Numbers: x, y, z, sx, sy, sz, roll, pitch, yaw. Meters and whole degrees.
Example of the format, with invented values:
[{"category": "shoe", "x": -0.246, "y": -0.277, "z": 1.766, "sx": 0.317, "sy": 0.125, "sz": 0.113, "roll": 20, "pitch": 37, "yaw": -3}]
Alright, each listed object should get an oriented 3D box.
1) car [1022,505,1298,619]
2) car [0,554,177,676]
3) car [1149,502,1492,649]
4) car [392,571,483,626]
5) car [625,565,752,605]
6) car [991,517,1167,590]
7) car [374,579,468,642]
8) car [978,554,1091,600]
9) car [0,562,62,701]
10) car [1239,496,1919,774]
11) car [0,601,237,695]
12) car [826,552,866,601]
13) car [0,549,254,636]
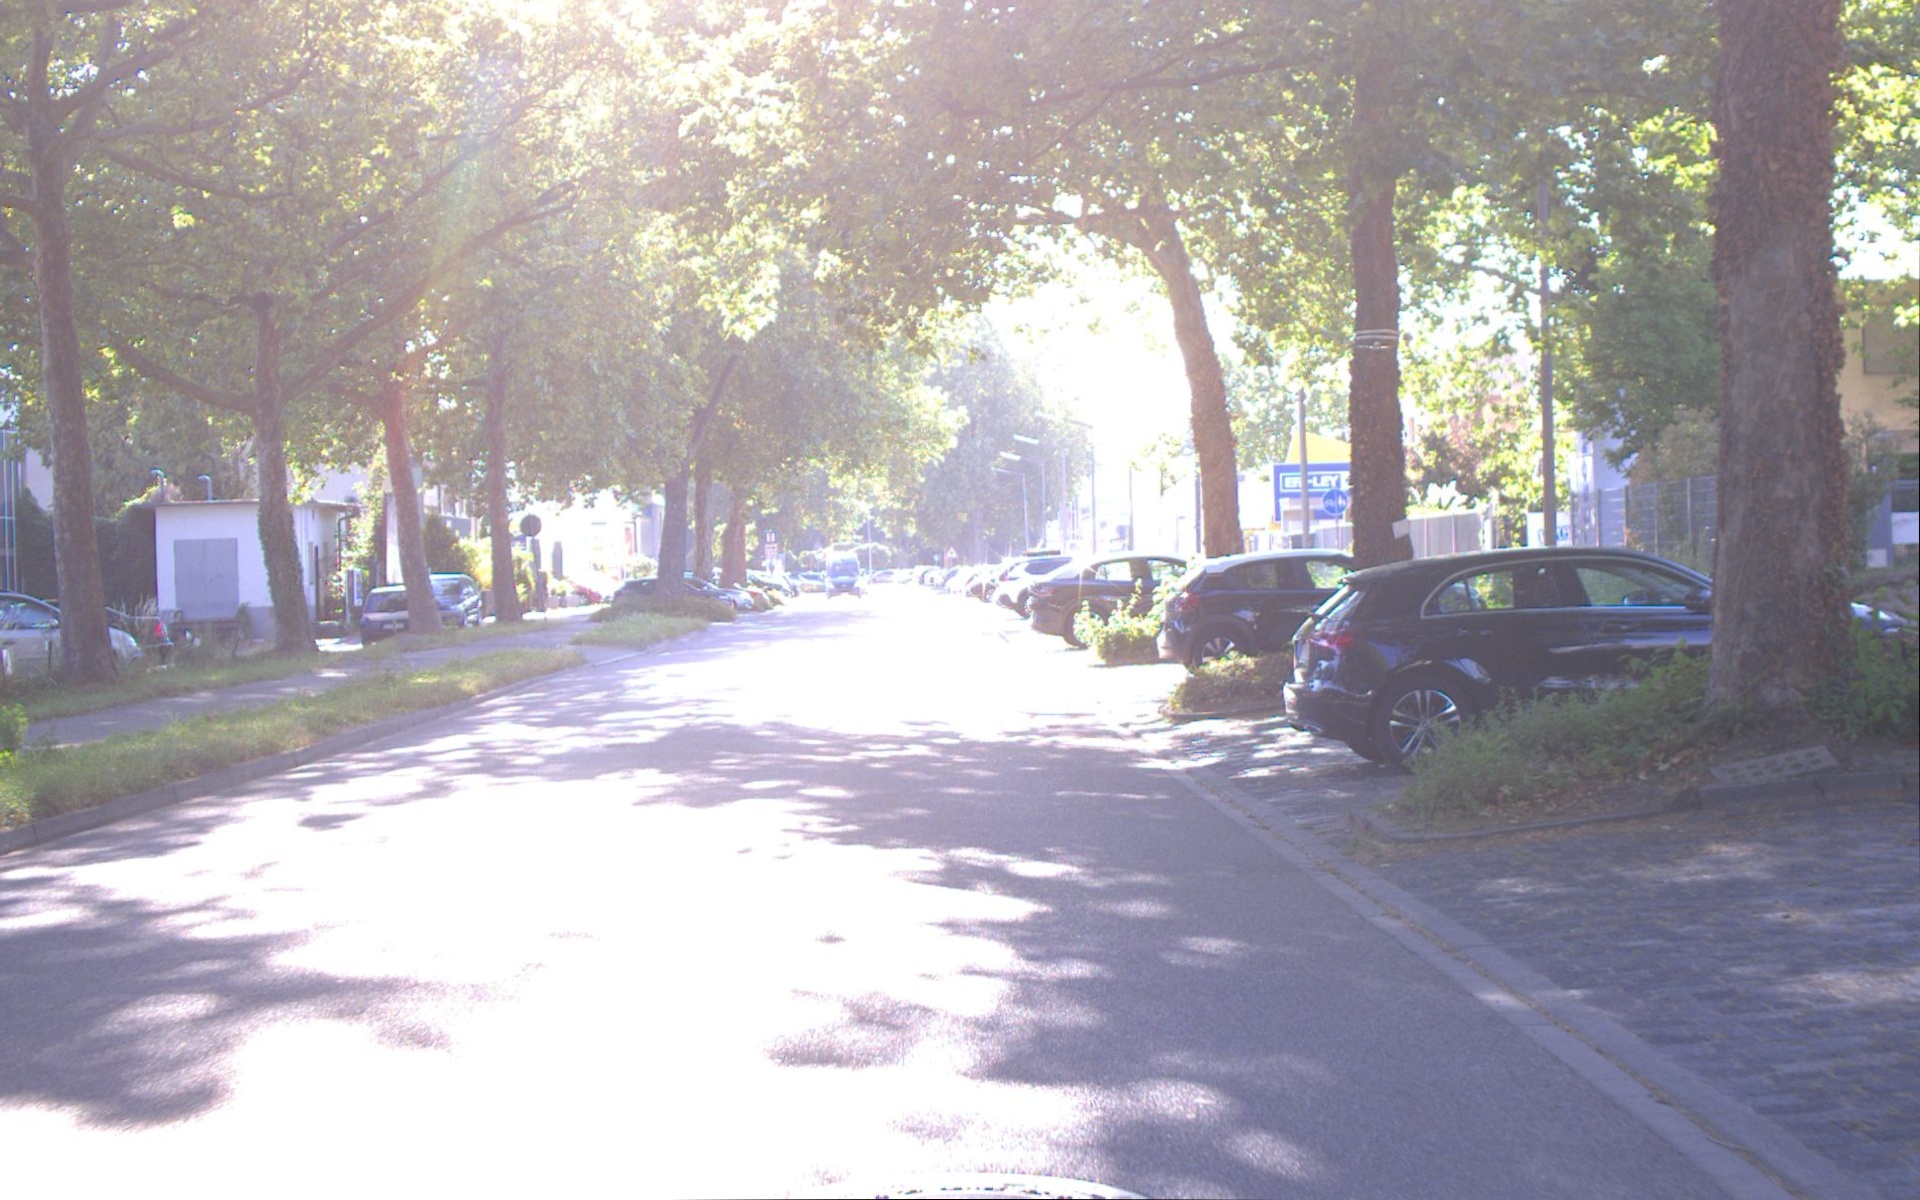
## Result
[{"category": "car", "x": 3.503, "y": -0.659, "z": 60.840, "sx": 4.569, "sy": 1.710, "sz": 1.944, "roll": -3, "pitch": 0, "yaw": -4}, {"category": "car", "x": -13.761, "y": 0.208, "z": 49.370, "sx": 4.471, "sy": 1.725, "sz": 1.999, "roll": 1, "pitch": 0, "yaw": -38}, {"category": "car", "x": 4.300, "y": -0.290, "z": 41.432, "sx": 3.784, "sy": 1.481, "sz": 1.861, "roll": -4, "pitch": 0, "yaw": -2}, {"category": "car", "x": -15.403, "y": -0.047, "z": 101.549, "sx": 1.993, "sy": 1.570, "sz": 4.273, "roll": 1, "pitch": 0, "yaw": 1}, {"category": "car", "x": -10.165, "y": -0.574, "z": 128.969, "sx": 4.599, "sy": 1.417, "sz": 2.000, "roll": 0, "pitch": 1, "yaw": -1}, {"category": "car", "x": 3.275, "y": -1.290, "z": 95.418, "sx": 4.624, "sy": 1.706, "sz": 2.000, "roll": -4, "pitch": 0, "yaw": -2}, {"category": "car", "x": -13.470, "y": 0.256, "z": 86.088, "sx": 1.993, "sy": 1.365, "sz": 3.921, "roll": -5, "pitch": 0, "yaw": -5}, {"category": "car", "x": 3.090, "y": -0.948, "z": 142.591, "sx": 4.601, "sy": 1.574, "sz": 2.000, "roll": -4, "pitch": 0, "yaw": 1}, {"category": "car", "x": -12.853, "y": 0.349, "z": 39.995, "sx": 1.998, "sy": 1.624, "sz": 4.252, "roll": 0, "pitch": 0, "yaw": 42}, {"category": "car", "x": 4.207, "y": 0.226, "z": 23.517, "sx": 4.283, "sy": 1.481, "sz": 1.861, "roll": -5, "pitch": 0, "yaw": -2}, {"category": "car", "x": -13.471, "y": 0.711, "z": 52.176, "sx": 4.472, "sy": 1.301, "sz": 1.999, "roll": -1, "pitch": 1, "yaw": -42}, {"category": "car", "x": -6.367, "y": -1.323, "z": 192.573, "sx": 2.127, "sy": 2.650, "sz": 7.002, "roll": -1, "pitch": 1, "yaw": -1}, {"category": "car", "x": -13.805, "y": -0.134, "z": 55.097, "sx": 4.472, "sy": 1.301, "sz": 1.999, "roll": -1, "pitch": 1, "yaw": -42}]
